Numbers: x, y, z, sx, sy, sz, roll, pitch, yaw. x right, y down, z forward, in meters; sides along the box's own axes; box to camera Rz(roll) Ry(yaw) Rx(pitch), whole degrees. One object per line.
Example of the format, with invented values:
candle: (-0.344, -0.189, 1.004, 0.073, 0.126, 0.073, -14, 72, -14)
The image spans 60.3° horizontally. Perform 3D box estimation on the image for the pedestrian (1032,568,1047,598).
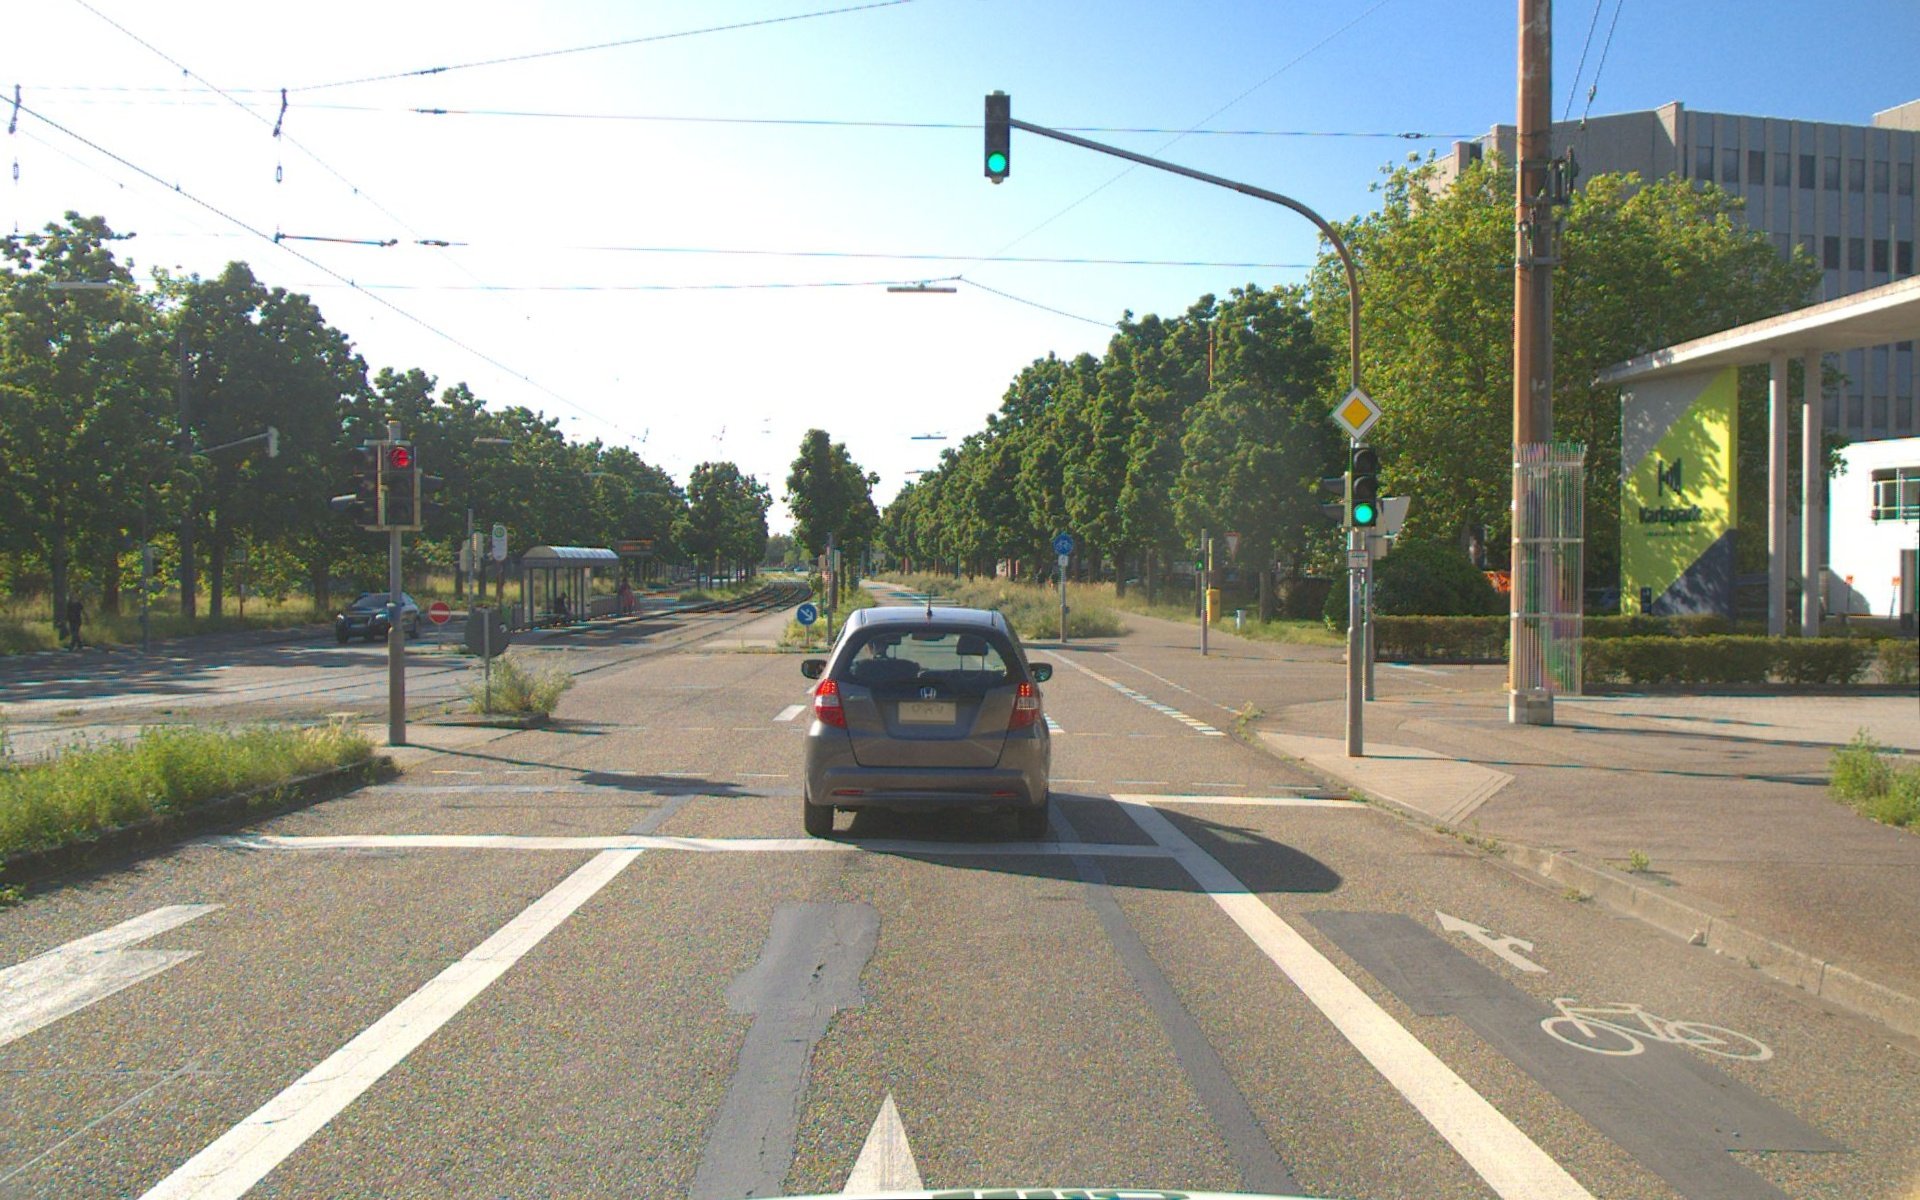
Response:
pedestrian: (5.020, -1.072, 104.717, 0.865, 1.917, 0.875, -1, 1, -5)

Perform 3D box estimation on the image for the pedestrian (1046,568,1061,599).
pedestrian: (5.932, -1.058, 104.747, 0.865, 1.917, 0.875, -1, 1, -5)

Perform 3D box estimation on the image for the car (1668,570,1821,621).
car: (28.019, -0.178, 59.121, 4.803, 1.788, 2.083, 0, 0, -16)

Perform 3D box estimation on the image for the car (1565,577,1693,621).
car: (26.654, -0.053, 65.962, 4.371, 1.716, 1.892, 0, 0, -7)

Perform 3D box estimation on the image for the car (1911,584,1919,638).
car: (30.651, 0.330, 49.090, 3.914, 1.606, 1.949, 0, 0, -10)

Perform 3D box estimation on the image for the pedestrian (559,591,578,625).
pedestrian: (-15.076, 0.299, 63.658, 0.552, 1.279, 0.580, -2, 0, -2)

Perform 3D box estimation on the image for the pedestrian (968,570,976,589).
pedestrian: (1.049, -1.802, 145.374, 0.710, 1.720, 0.820, 0, 0, -3)

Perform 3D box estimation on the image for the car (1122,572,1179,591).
car: (16.498, -1.611, 143.172, 4.543, 1.583, 1.997, -1, 1, -7)

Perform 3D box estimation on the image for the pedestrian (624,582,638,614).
pedestrian: (-15.566, -0.085, 78.214, 0.533, 1.473, 0.559, -1, 0, -1)

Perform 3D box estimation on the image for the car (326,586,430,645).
car: (-20.137, 0.496, 57.489, 2.052, 1.841, 4.790, -2, 1, -3)

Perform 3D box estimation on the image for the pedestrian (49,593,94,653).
pedestrian: (-26.789, 0.686, 49.864, 0.744, 1.764, 0.936, 0, 1, 27)

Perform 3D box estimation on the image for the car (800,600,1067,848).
car: (-0.188, 0.792, 12.253, 1.666, 1.550, 3.708, 0, 0, -1)
